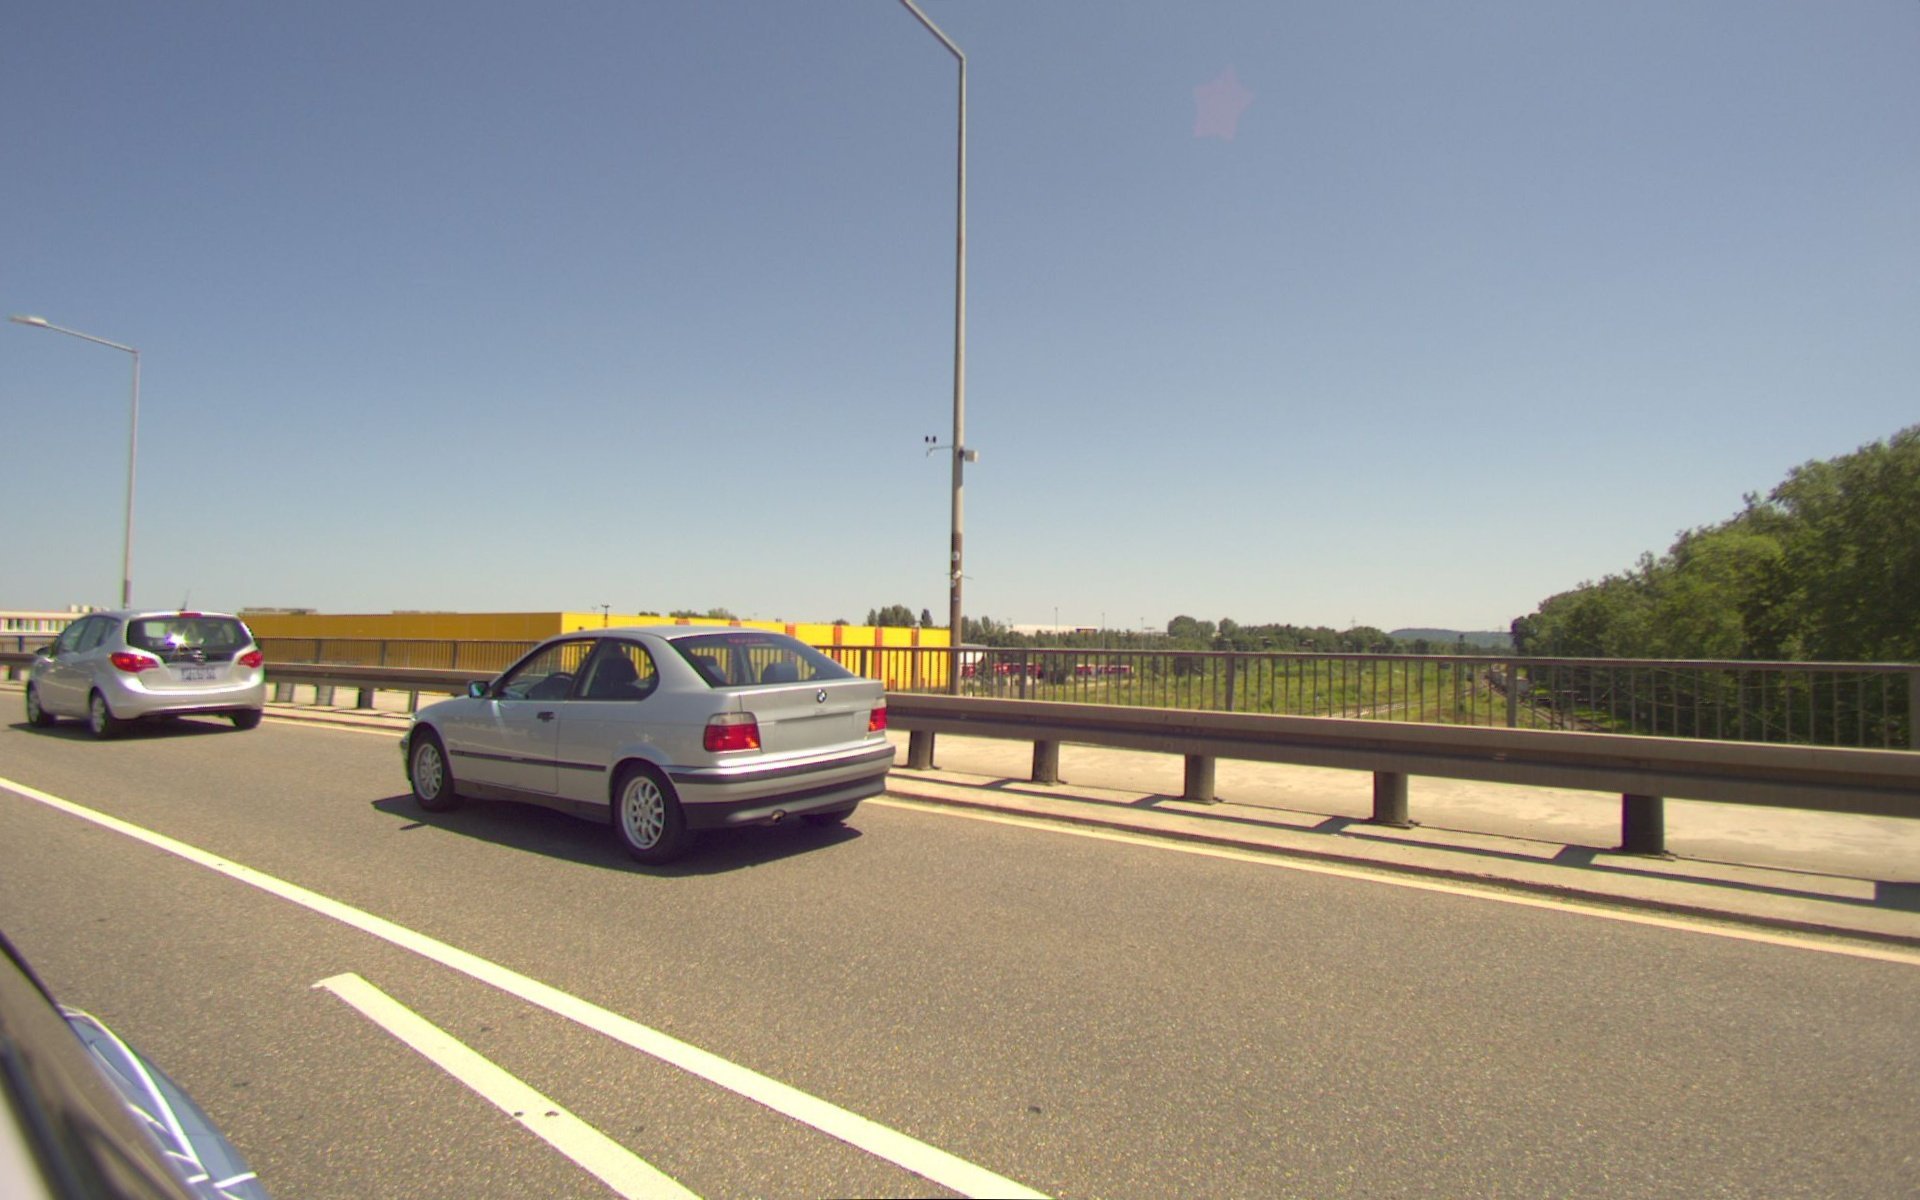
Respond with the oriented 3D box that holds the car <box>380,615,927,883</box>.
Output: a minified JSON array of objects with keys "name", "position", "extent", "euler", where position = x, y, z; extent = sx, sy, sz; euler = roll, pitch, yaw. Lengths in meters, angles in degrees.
[{"name":"car","position":[-2.298,0.813,7.132],"extent":[3.993,1.386,1.681],"euler":[-1,-2,37]}]

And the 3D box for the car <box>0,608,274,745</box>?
[{"name":"car","position":[-11.162,0.932,13.637],"extent":[4.164,1.592,1.723],"euler":[-1,-2,33]}]
